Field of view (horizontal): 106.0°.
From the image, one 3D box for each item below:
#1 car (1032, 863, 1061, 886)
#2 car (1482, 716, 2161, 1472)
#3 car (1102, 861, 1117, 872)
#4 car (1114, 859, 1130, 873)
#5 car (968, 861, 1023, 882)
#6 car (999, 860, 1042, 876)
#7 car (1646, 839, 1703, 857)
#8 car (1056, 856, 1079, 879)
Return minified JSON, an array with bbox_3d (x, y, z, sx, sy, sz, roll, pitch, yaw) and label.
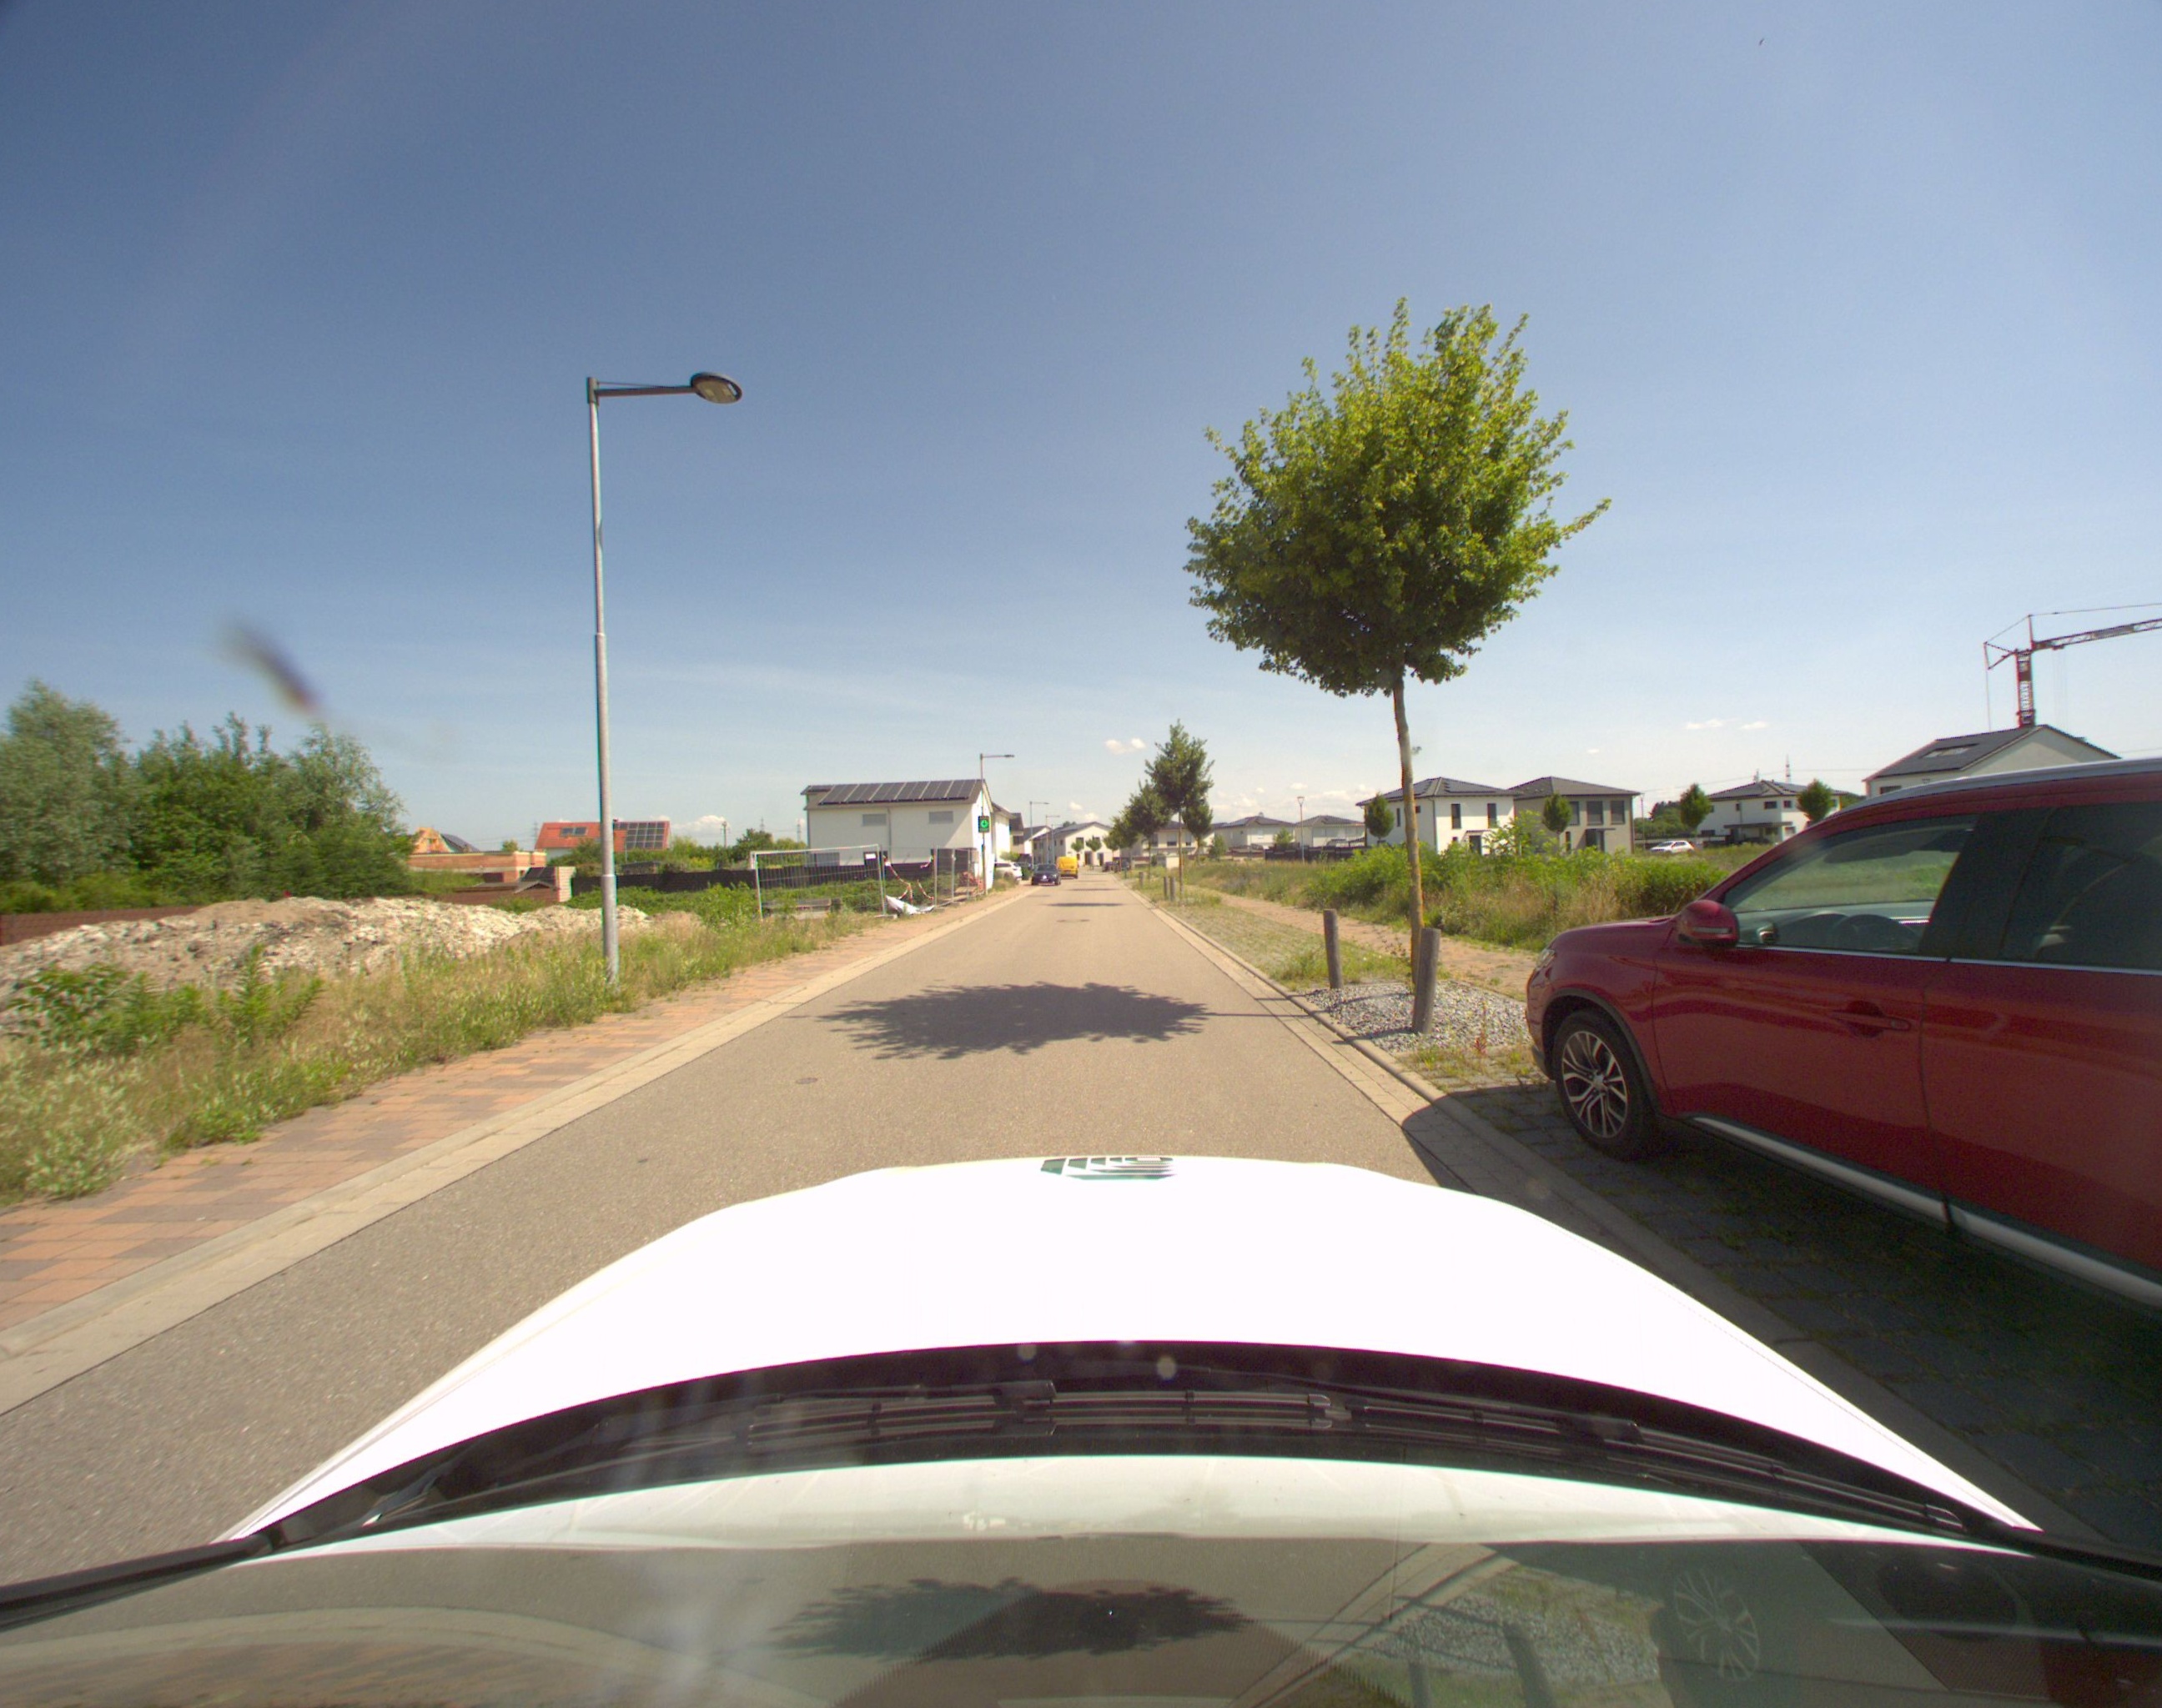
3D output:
[{"bbox_3d":[-2.255,1.331,54.359,1.739,1.405,4.160,0,0,1],"label":"car"},{"bbox_3d":[3.234,0.485,2.496,1.771,1.663,4.433,-3,0,0],"label":"car"},{"bbox_3d":[3.932,1.760,113.147,1.626,1.322,3.825,-2,-3,-6],"label":"car"},{"bbox_3d":[4.779,1.422,94.528,1.634,1.403,3.809,-2,-2,0],"label":"car"},{"bbox_3d":[-6.805,1.416,64.888,4.047,1.581,1.787,-1,0,6],"label":"car"},{"bbox_3d":[-6.345,1.460,85.264,4.168,1.505,1.806,2,-2,-15],"label":"car"},{"bbox_3d":[50.906,-0.504,69.900,3.991,1.398,1.742,-2,-2,-13],"label":"car"},{"bbox_3d":[-1.239,1.244,74.497,1.937,1.981,4.212,-2,-1,-3],"label":"car"}]
